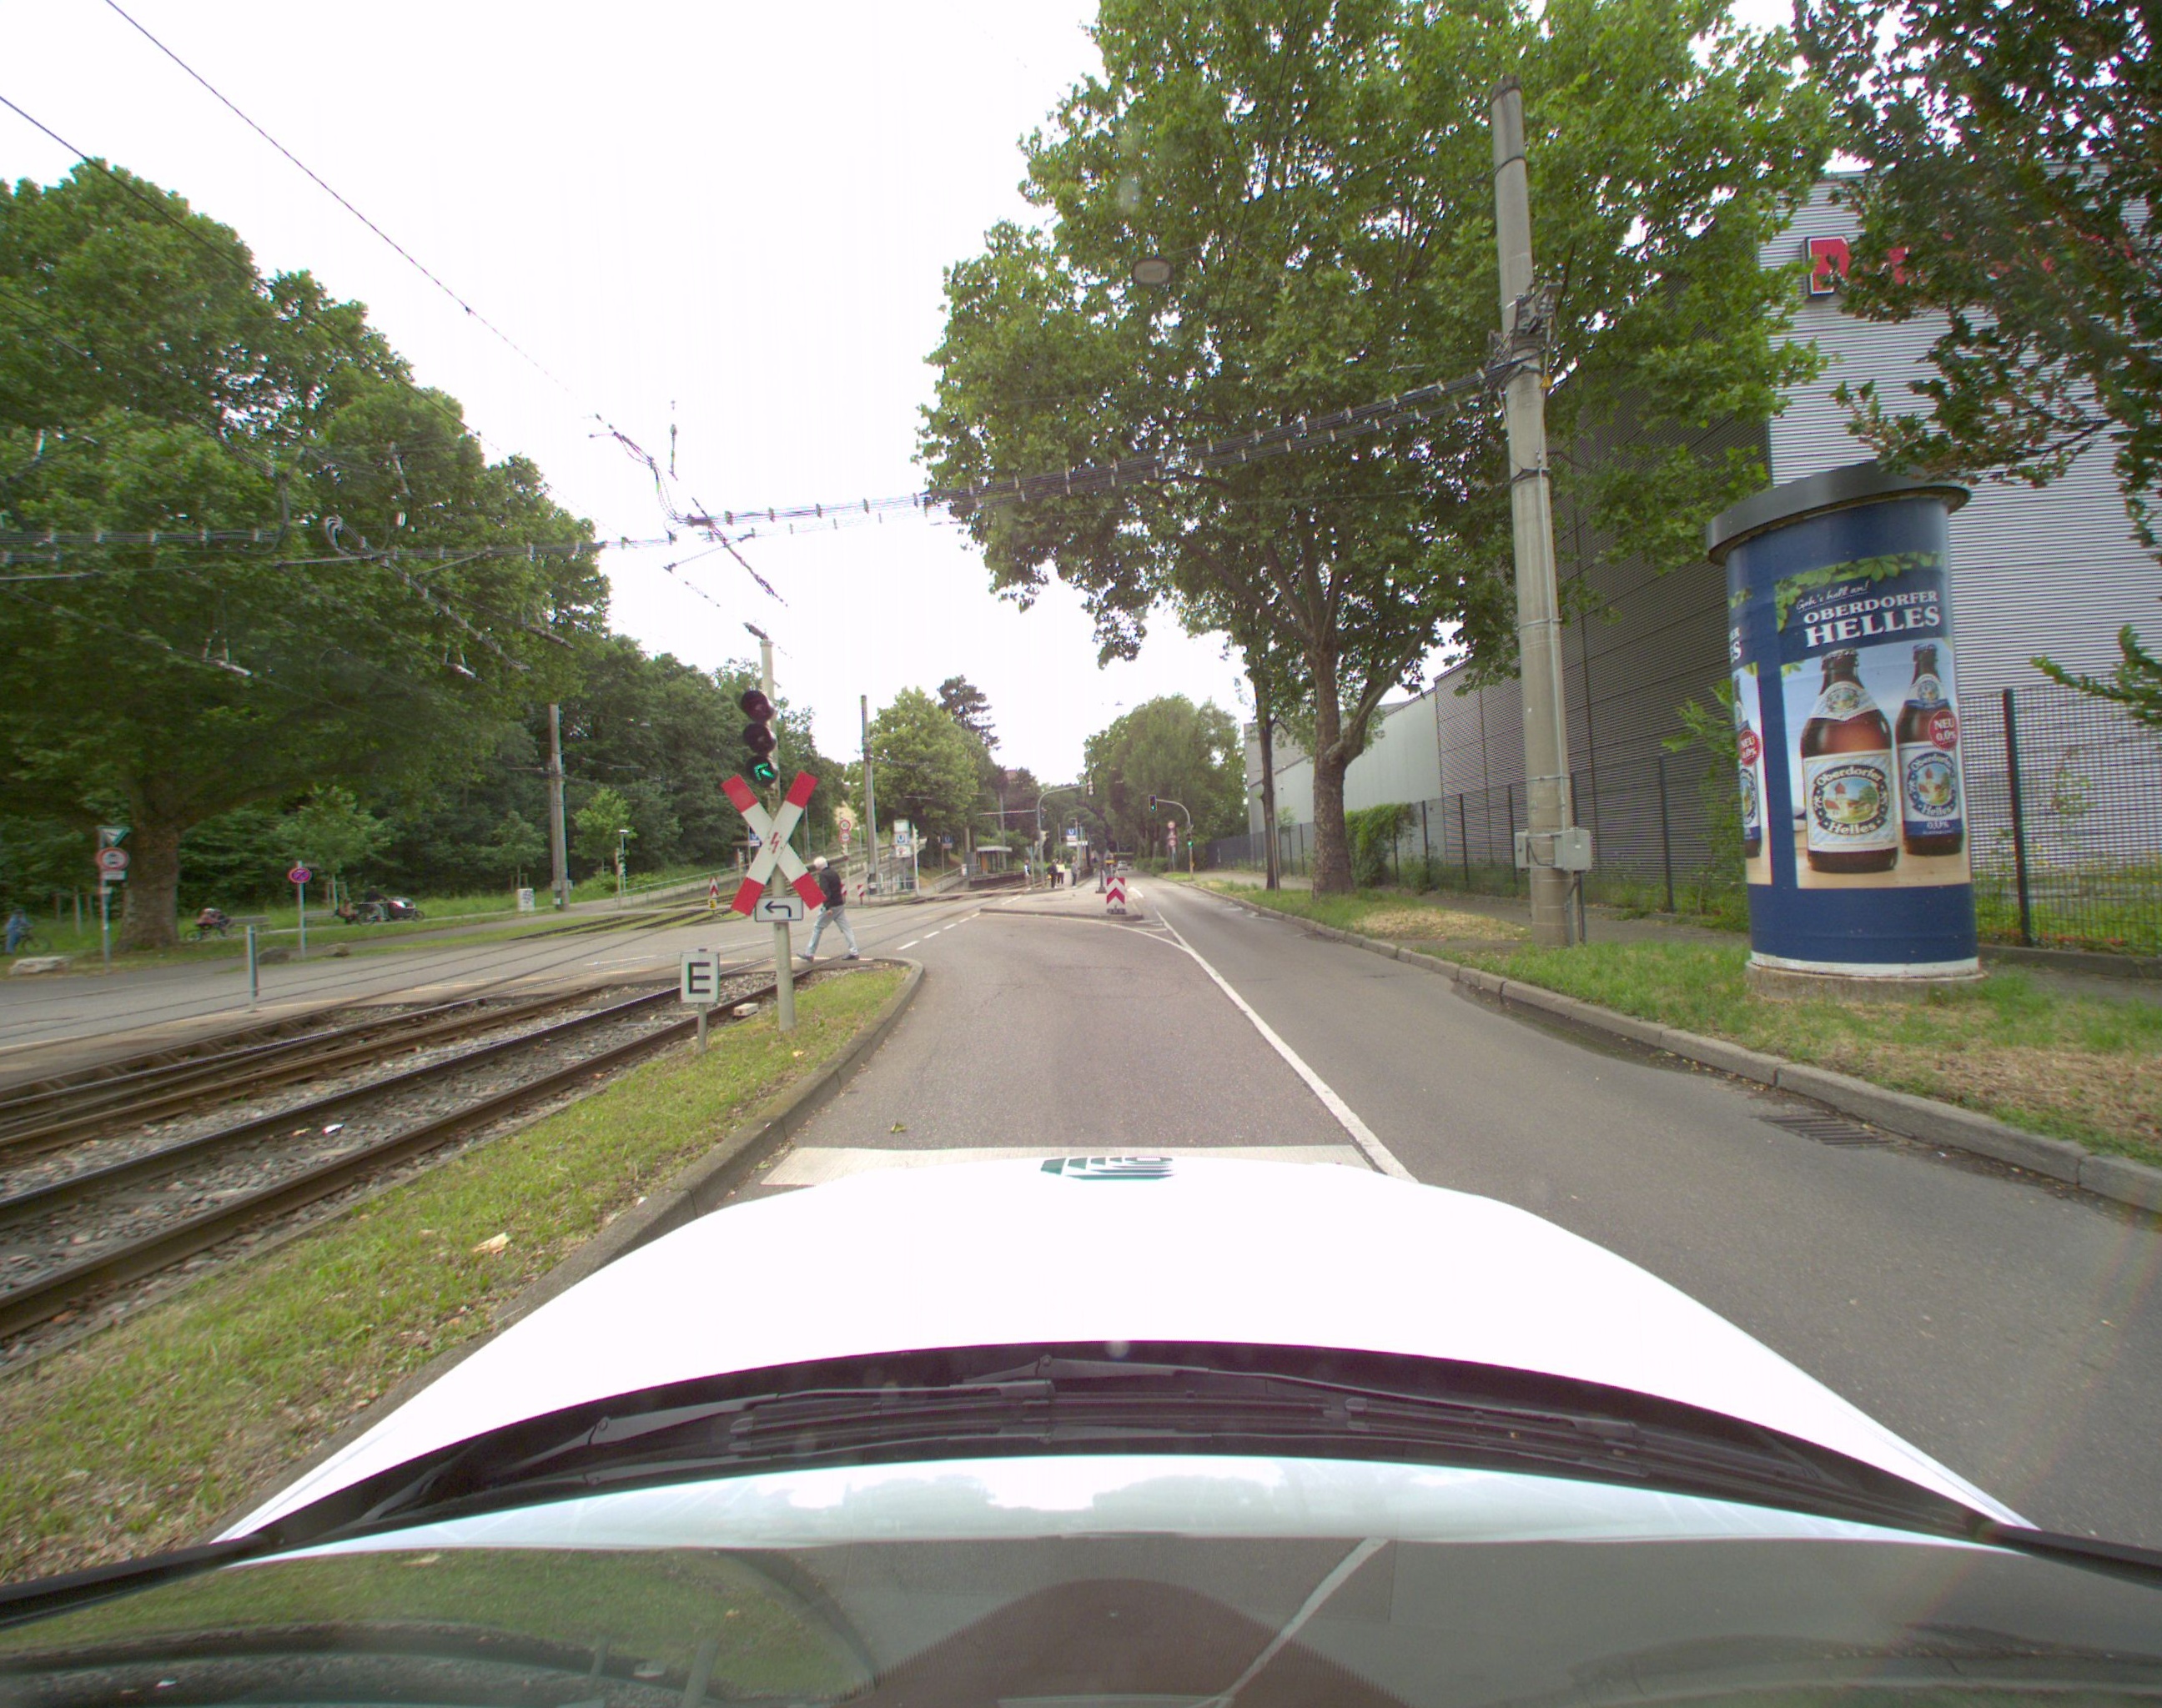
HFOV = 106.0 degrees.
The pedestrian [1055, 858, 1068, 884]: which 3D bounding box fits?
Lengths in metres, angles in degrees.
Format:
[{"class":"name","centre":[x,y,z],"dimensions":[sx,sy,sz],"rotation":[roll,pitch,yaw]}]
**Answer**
[{"class":"pedestrian","centre":[-1.280,1.079,52.745],"dimensions":[0.736,1.665,0.678],"rotation":[0,-1,-14]}]

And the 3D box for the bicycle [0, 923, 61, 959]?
[{"class":"bicycle","centre":[-36.330,2.974,27.710],"dimensions":[0.469,1.041,1.957],"rotation":[1,2,27]}]

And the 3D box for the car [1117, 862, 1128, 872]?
[{"class":"car","centre":[6.988,2.207,137.898],"dimensions":[1.737,1.599,4.001],"rotation":[0,-1,2]}]

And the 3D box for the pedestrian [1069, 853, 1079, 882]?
[{"class":"pedestrian","centre":[-0.432,0.843,50.901],"dimensions":[0.547,1.758,0.739],"rotation":[0,-1,6]}]

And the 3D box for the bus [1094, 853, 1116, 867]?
[{"class":"bus","centre":[6.238,1.590,212.347],"dimensions":[2.710,3.626,8.990],"rotation":[-1,-1,23]}]

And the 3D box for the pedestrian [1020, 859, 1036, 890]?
[{"class":"pedestrian","centre":[-3.122,1.181,47.595],"dimensions":[0.804,1.821,0.667],"rotation":[0,-1,-17]}]

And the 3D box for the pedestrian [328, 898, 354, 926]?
[{"class":"pedestrian","centre":[-33.640,2.649,37.036],"dimensions":[0.574,1.235,0.676],"rotation":[-1,-1,15]}]

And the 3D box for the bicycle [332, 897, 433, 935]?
[{"class":"bicycle","centre":[-31.427,2.750,36.731],"dimensions":[0.726,1.289,3.367],"rotation":[1,4,27]}]

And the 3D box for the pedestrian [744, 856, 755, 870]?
[{"class":"pedestrian","centre":[-30.773,0.841,75.658],"dimensions":[0.771,1.326,0.785],"rotation":[0,2,-6]}]

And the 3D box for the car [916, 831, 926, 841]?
[{"class":"car","centre":[-38.701,-4.328,197.453],"dimensions":[1.991,2.145,3.991],"rotation":[0,-1,-6]}]

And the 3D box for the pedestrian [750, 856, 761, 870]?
[{"class":"pedestrian","centre":[-30.660,0.838,76.744],"dimensions":[0.771,1.326,0.785],"rotation":[0,-1,-6]}]

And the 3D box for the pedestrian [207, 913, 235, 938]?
[{"class":"pedestrian","centre":[-35.173,2.920,33.318],"dimensions":[0.526,0.989,0.623],"rotation":[-1,-1,17]}]

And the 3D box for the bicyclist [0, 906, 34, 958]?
[{"class":"bicyclist","centre":[-36.302,2.654,27.758],"dimensions":[0.469,1.674,0.627],"rotation":[1,2,27]}]

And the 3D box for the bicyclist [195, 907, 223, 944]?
[{"class":"bicyclist","centre":[-33.697,2.764,31.488],"dimensions":[0.449,1.301,0.585],"rotation":[2,4,30]}]

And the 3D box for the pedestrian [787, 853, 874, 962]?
[{"class":"pedestrian","centre":[-4.165,0.866,13.584],"dimensions":[1.110,1.760,0.816],"rotation":[-1,-1,10]}]

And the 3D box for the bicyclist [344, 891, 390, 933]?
[{"class":"bicyclist","centre":[-31.690,2.557,36.176],"dimensions":[0.726,1.711,1.300],"rotation":[1,3,27]}]

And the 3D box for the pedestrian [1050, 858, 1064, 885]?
[{"class":"pedestrian","centre":[-1.482,1.061,49.941],"dimensions":[0.674,1.665,0.741],"rotation":[-1,-1,17]}]

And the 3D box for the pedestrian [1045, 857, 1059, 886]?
[{"class":"pedestrian","centre":[-1.694,1.014,47.114],"dimensions":[0.732,1.665,0.682],"rotation":[0,-1,3]}]

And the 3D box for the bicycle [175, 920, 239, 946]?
[{"class":"bicycle","centre":[-33.735,3.046,31.450],"dimensions":[0.449,0.738,1.569],"rotation":[2,5,30]}]

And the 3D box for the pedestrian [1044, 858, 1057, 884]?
[{"class":"pedestrian","centre":[-2.020,1.102,53.695],"dimensions":[0.735,1.665,0.679],"rotation":[0,-1,-9]}]
